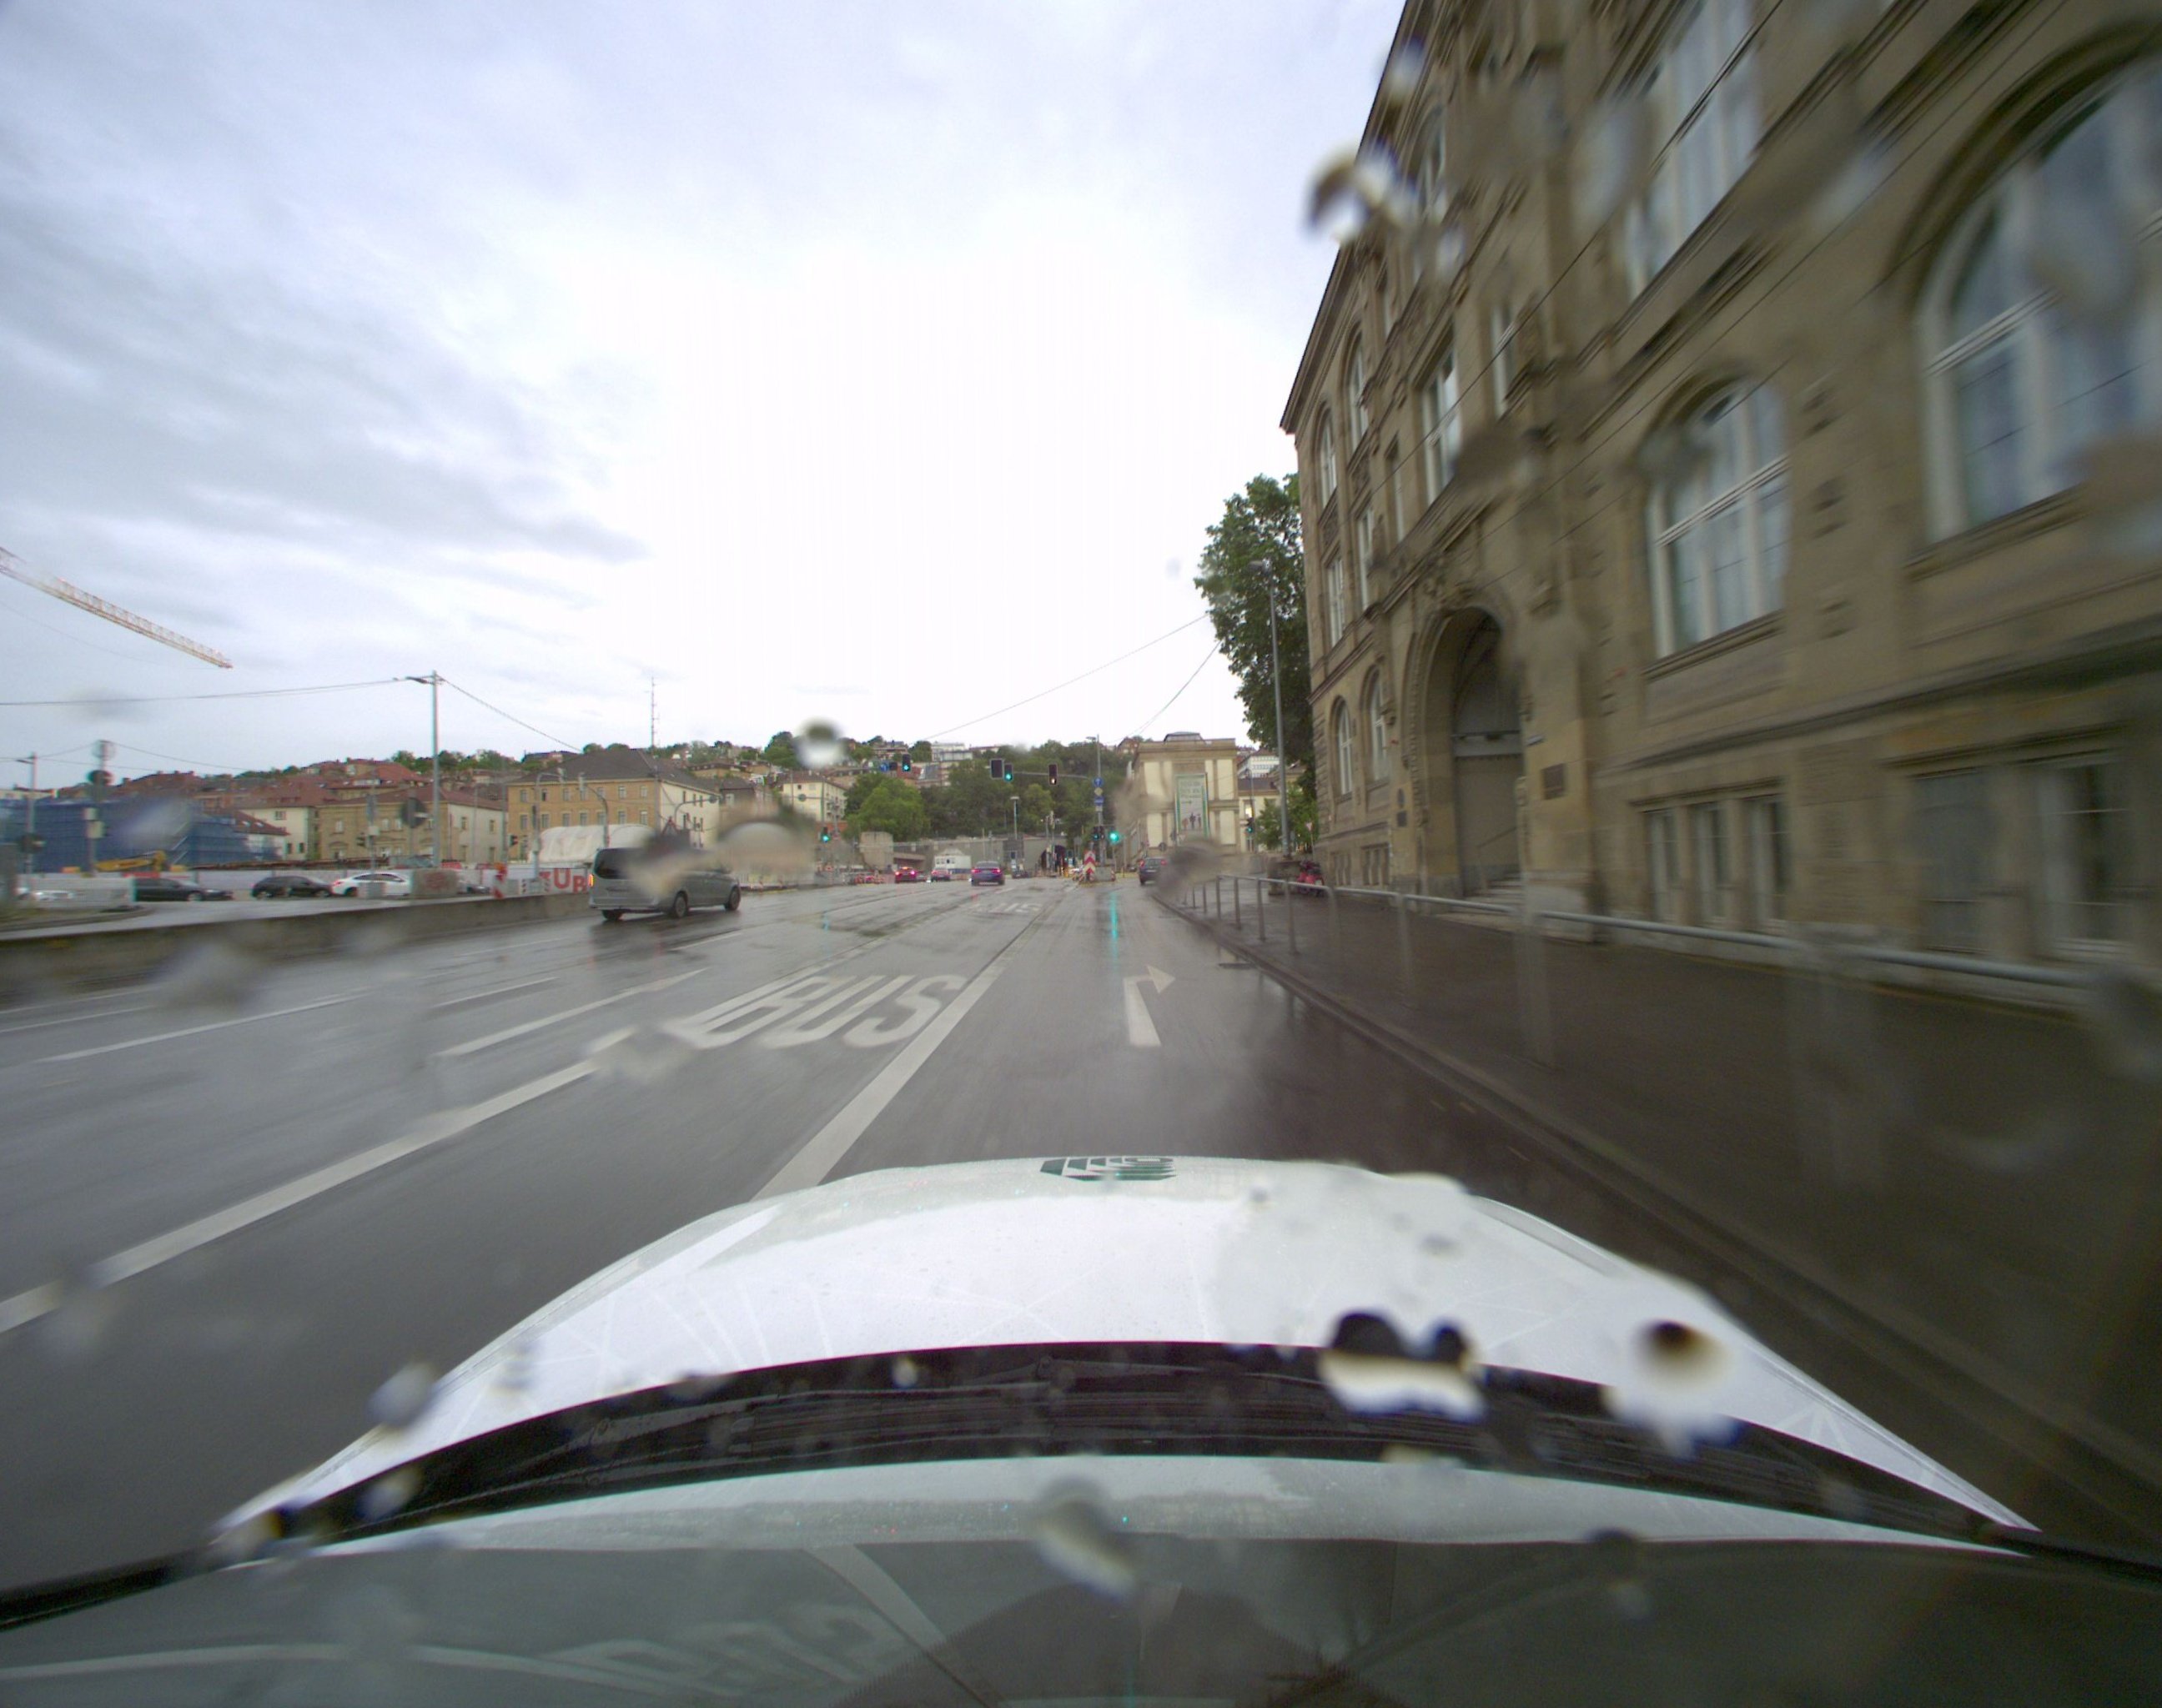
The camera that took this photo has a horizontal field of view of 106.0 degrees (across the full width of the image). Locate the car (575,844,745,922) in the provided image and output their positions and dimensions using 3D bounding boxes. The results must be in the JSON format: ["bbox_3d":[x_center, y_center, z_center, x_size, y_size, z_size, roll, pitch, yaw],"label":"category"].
[{"bbox_3d":[-11.107,0.728,21.948,1.986,1.839,4.686,-1,-1,2],"label":"car"}]

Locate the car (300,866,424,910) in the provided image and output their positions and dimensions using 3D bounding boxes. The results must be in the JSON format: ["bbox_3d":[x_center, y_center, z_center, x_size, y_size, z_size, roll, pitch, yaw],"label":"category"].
[{"bbox_3d":[-37.524,1.720,42.653,4.429,2.013,1.984,-2,0,-24],"label":"car"}]

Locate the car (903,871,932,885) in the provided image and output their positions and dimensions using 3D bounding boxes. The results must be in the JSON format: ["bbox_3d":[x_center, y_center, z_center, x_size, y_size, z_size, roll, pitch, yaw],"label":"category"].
[{"bbox_3d":[-18.649,2.721,92.950,1.789,1.464,3.956,-1,0,-36],"label":"car"}]

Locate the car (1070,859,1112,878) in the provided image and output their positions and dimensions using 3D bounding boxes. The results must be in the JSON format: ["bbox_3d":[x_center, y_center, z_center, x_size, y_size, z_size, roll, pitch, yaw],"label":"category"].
[{"bbox_3d":[1.077,1.642,91.806,4.617,2.013,1.997,-1,0,-4],"label":"car"}]

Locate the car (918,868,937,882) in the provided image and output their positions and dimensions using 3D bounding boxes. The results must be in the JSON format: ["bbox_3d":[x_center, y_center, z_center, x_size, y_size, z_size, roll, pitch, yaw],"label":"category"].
[{"bbox_3d":[-24.023,3.293,127.673,1.984,2.013,4.006,-1,0,5],"label":"car"}]

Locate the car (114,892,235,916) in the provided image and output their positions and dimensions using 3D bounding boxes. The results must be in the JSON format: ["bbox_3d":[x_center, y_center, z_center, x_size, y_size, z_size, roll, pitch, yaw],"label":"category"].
[{"bbox_3d":[-50.319,2.751,45.296,4.279,1.178,1.644,0,0,-13],"label":"car"}]

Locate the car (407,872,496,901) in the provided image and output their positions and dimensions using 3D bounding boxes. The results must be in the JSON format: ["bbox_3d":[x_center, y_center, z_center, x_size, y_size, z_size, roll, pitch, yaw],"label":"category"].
[{"bbox_3d":[-38.247,1.951,49.578,3.801,1.566,1.849,-2,0,-20],"label":"car"}]

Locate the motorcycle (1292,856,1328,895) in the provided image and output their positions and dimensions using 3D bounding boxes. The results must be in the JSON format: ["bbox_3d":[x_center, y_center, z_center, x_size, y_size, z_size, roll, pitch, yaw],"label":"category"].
[{"bbox_3d":[7.034,0.631,25.091,0.544,1.138,1.899,-2,0,1],"label":"motorcycle"}]

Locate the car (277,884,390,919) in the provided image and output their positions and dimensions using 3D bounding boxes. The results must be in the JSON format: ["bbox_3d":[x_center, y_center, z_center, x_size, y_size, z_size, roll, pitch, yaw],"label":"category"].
[{"bbox_3d":[-43.619,2.729,47.665,4.429,1.717,1.984,-2,0,-24],"label":"car"}]

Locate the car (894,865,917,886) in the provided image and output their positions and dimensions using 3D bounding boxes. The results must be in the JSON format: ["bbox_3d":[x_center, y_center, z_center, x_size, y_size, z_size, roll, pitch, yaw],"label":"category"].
[{"bbox_3d":[-15.835,1.876,73.329,1.780,1.750,3.978,-1,0,-16],"label":"car"}]

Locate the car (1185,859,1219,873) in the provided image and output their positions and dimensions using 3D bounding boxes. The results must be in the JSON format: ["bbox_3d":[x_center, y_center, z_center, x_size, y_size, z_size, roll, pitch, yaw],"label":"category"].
[{"bbox_3d":[15.621,1.597,105.167,4.166,1.701,1.823,-1,0,1],"label":"car"}]

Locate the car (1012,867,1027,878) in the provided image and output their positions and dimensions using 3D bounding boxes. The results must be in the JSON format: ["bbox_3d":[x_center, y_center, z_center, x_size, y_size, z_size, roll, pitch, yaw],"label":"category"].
[{"bbox_3d":[-8.100,2.481,107.520,1.488,1.354,4.001,0,0,2],"label":"car"}]

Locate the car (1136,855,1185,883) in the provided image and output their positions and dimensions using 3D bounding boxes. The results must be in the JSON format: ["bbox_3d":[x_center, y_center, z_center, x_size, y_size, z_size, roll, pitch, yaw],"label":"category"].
[{"bbox_3d":[4.353,0.783,43.968,1.656,1.427,3.777,-2,0,21],"label":"car"}]

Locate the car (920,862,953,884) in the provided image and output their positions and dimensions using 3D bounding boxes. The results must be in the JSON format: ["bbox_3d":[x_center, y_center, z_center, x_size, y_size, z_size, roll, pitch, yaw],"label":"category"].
[{"bbox_3d":[-14.005,1.834,78.907,2.004,2.013,4.257,-1,0,-26],"label":"car"}]

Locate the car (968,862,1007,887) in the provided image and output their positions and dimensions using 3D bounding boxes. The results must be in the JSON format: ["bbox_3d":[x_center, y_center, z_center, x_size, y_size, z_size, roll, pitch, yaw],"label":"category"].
[{"bbox_3d":[-5.575,1.210,48.962,1.988,1.438,3.996,-1,-1,-2],"label":"car"}]

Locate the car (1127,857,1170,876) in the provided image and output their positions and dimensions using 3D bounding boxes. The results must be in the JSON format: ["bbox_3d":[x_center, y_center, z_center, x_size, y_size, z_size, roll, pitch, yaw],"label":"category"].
[{"bbox_3d":[7.650,1.406,92.345,4.665,2.013,1.997,-1,0,-4],"label":"car"}]
